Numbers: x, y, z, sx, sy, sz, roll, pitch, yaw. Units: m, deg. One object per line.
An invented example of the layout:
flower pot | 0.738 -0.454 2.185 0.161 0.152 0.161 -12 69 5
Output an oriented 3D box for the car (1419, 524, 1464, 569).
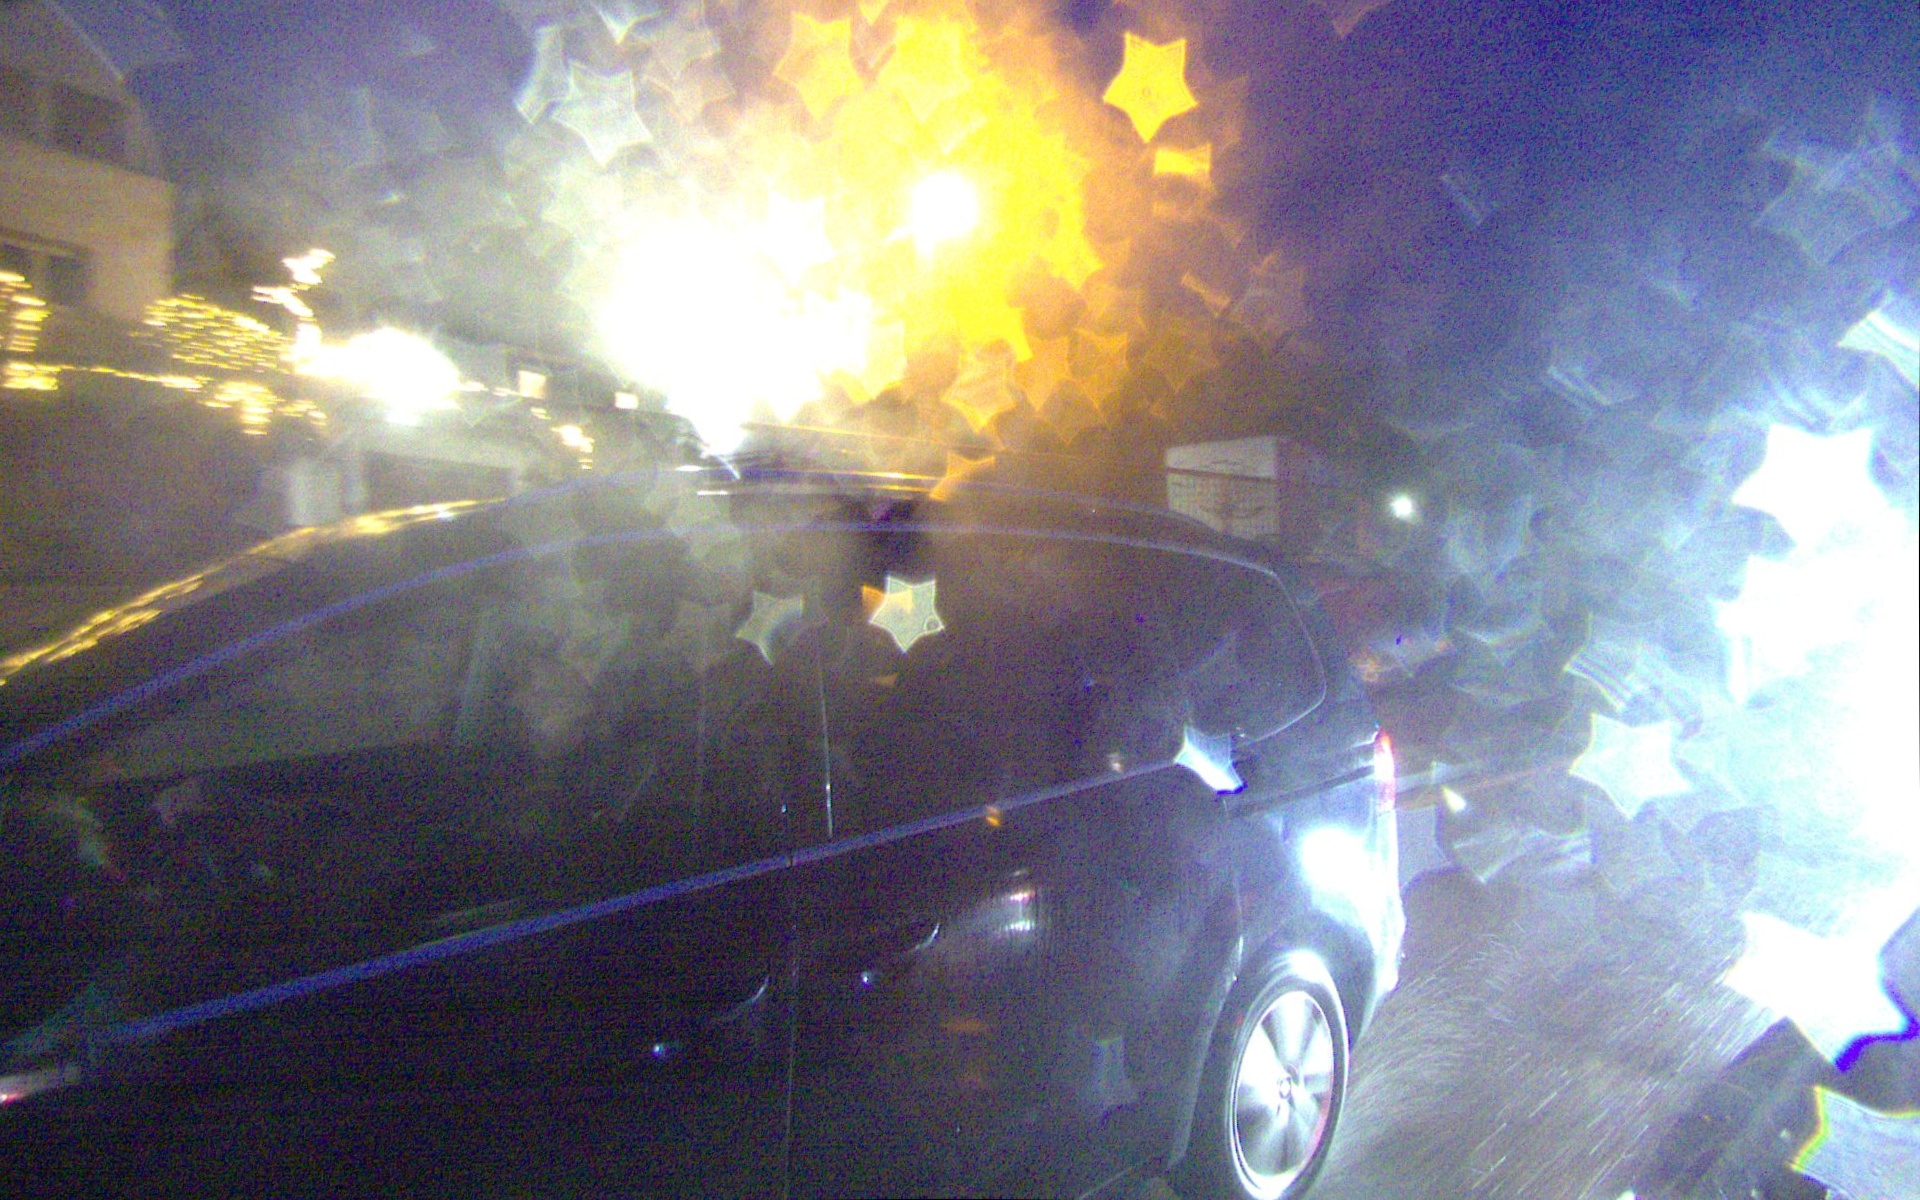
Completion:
car | 28.511 -3.123 59.860 1.922 2.451 4.206 -1 0 32

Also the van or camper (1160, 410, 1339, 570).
van or camper | 6.397 -2.128 21.789 2.394 2.828 5.712 -1 0 30

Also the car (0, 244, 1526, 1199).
car | -0.635 0.546 2.316 4.855 1.757 1.837 -1 0 -41

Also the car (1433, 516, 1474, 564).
car | 31.419 -3.768 64.370 1.922 2.810 4.206 -1 0 32

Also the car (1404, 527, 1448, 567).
car | 25.497 -2.863 55.308 1.721 2.039 3.658 -1 0 32
